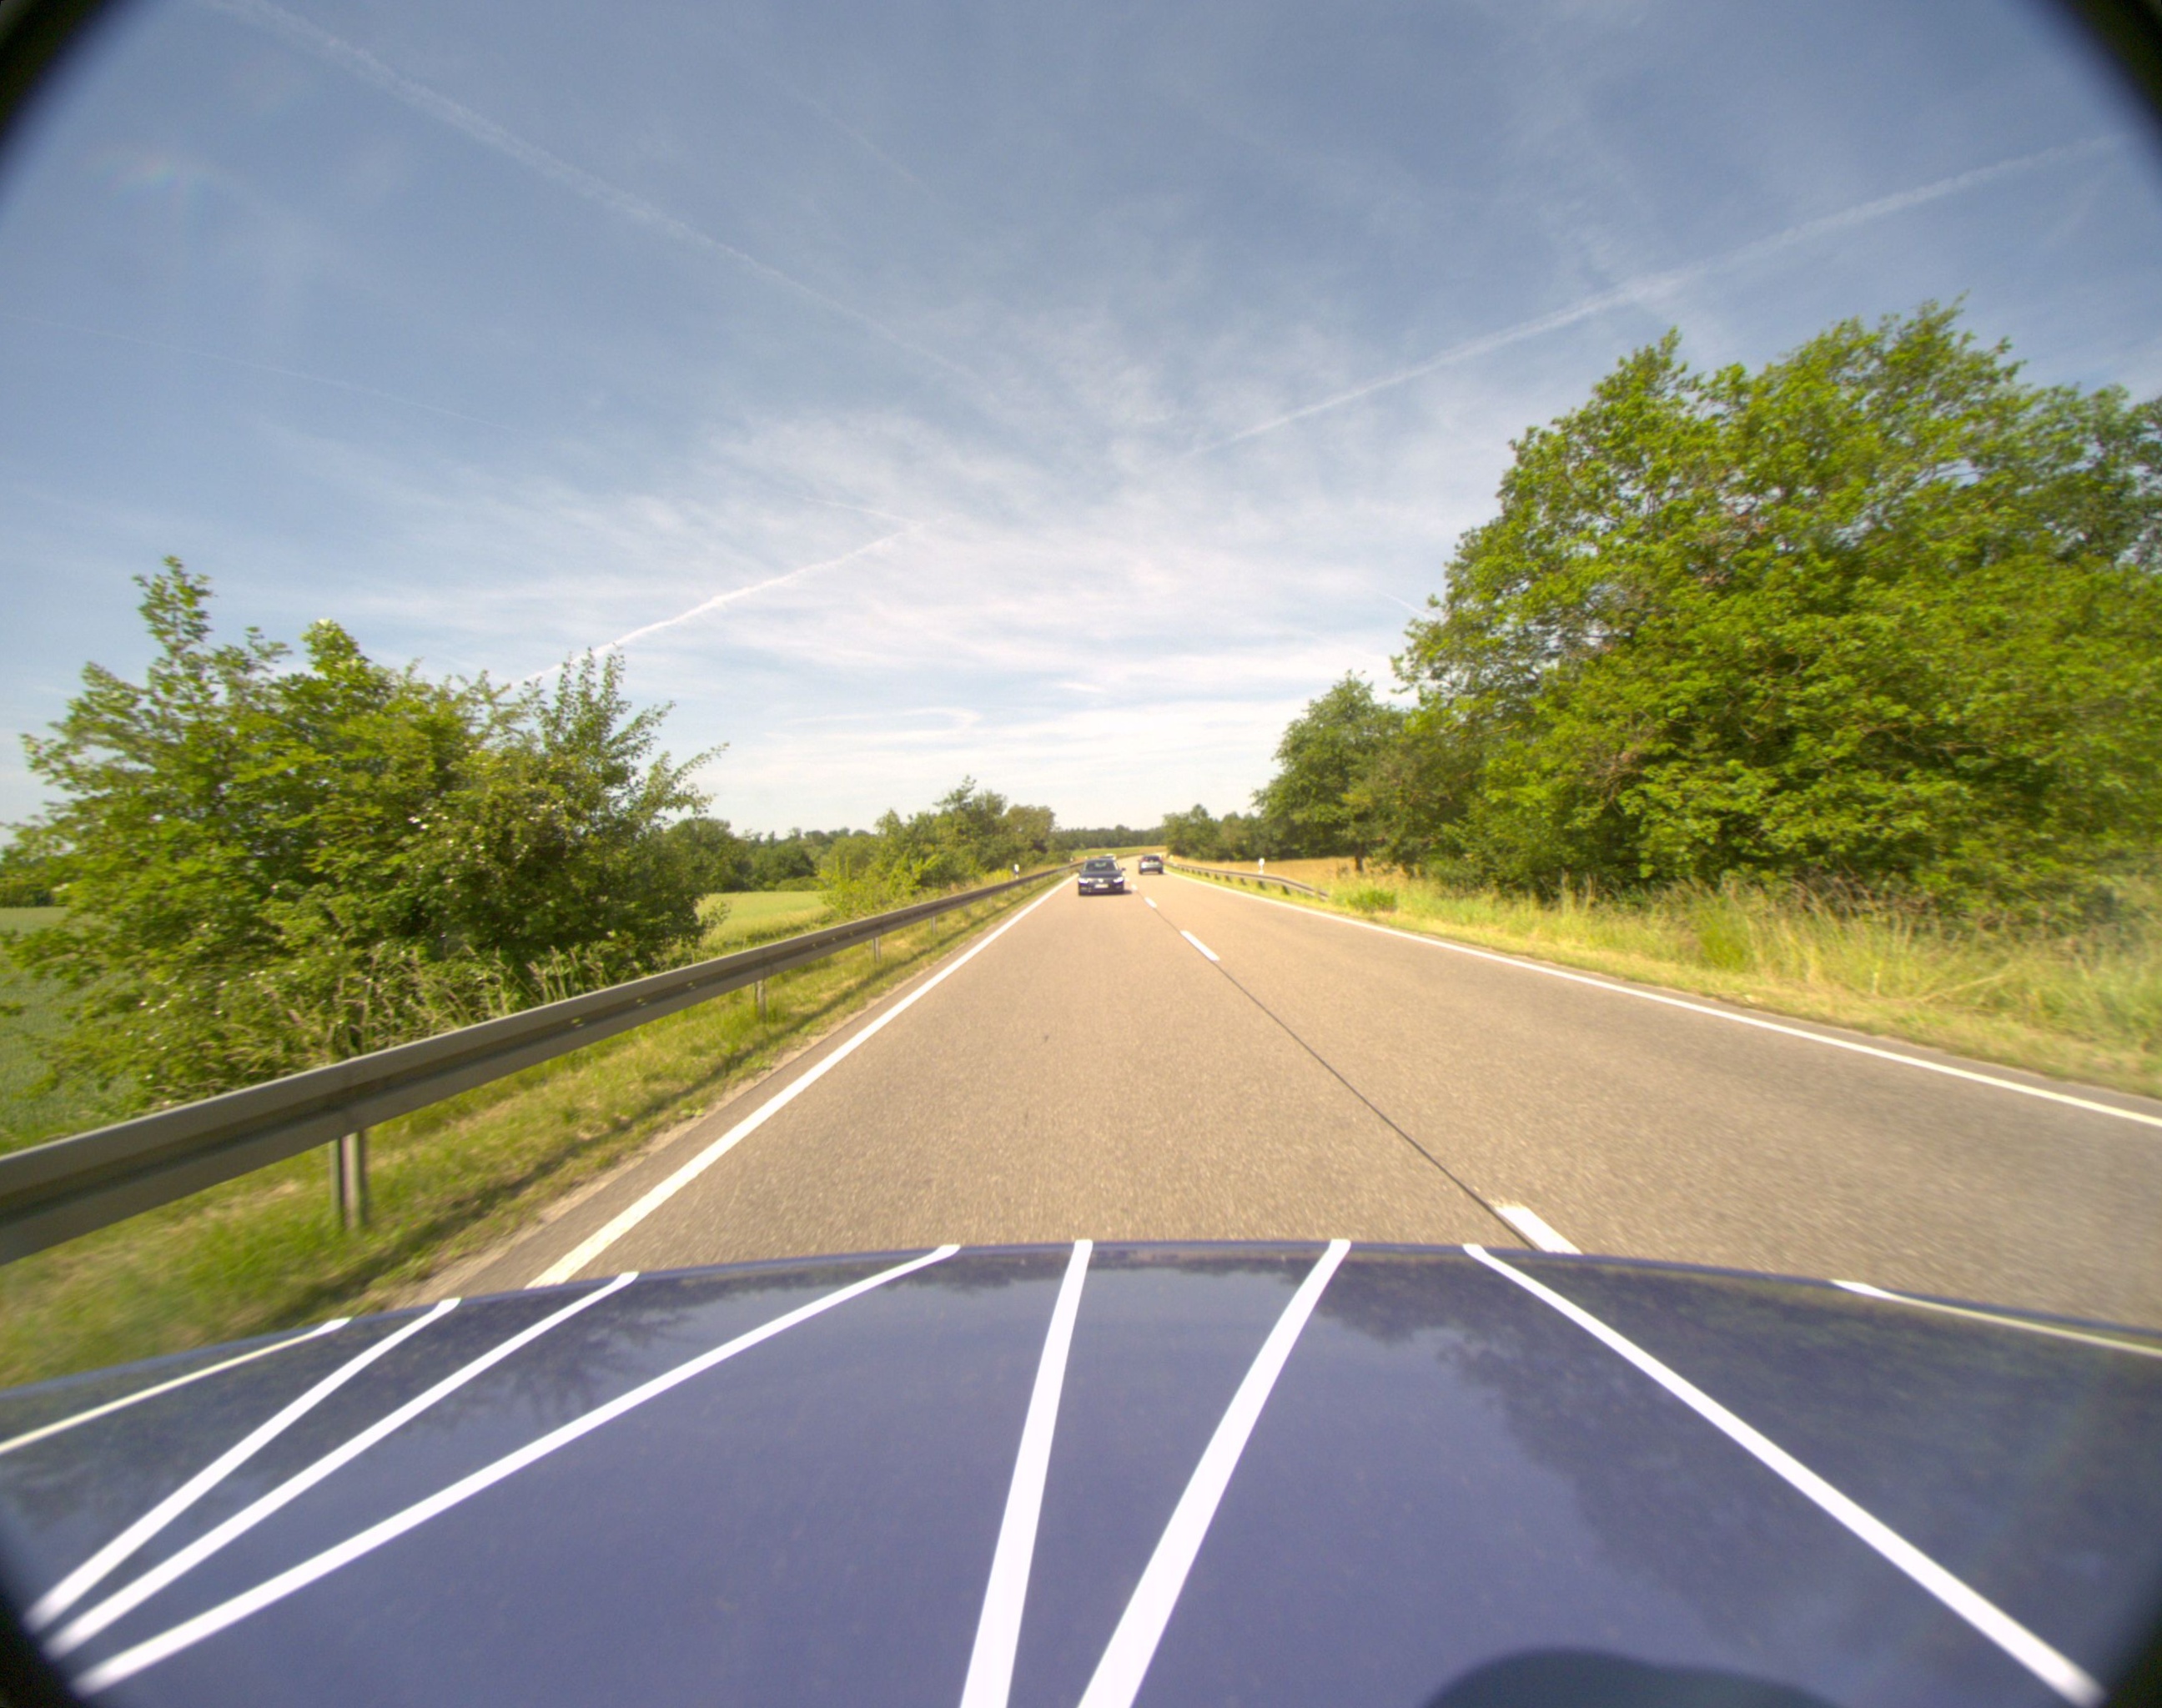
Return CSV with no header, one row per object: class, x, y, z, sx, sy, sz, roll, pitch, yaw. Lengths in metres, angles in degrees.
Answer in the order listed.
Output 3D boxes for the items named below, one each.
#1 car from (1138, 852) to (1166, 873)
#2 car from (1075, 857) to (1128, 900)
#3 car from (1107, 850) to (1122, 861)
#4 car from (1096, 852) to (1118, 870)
car,5.467,0.605,58.870,1.749,1.506,4.053,-1,0,1
car,0.829,0.902,29.678,1.821,1.501,4.502,-3,-1,2
car,4.734,0.256,108.658,1.928,1.501,4.292,-3,-1,0
car,2.468,0.671,71.764,1.928,1.501,4.292,-2,-1,2
